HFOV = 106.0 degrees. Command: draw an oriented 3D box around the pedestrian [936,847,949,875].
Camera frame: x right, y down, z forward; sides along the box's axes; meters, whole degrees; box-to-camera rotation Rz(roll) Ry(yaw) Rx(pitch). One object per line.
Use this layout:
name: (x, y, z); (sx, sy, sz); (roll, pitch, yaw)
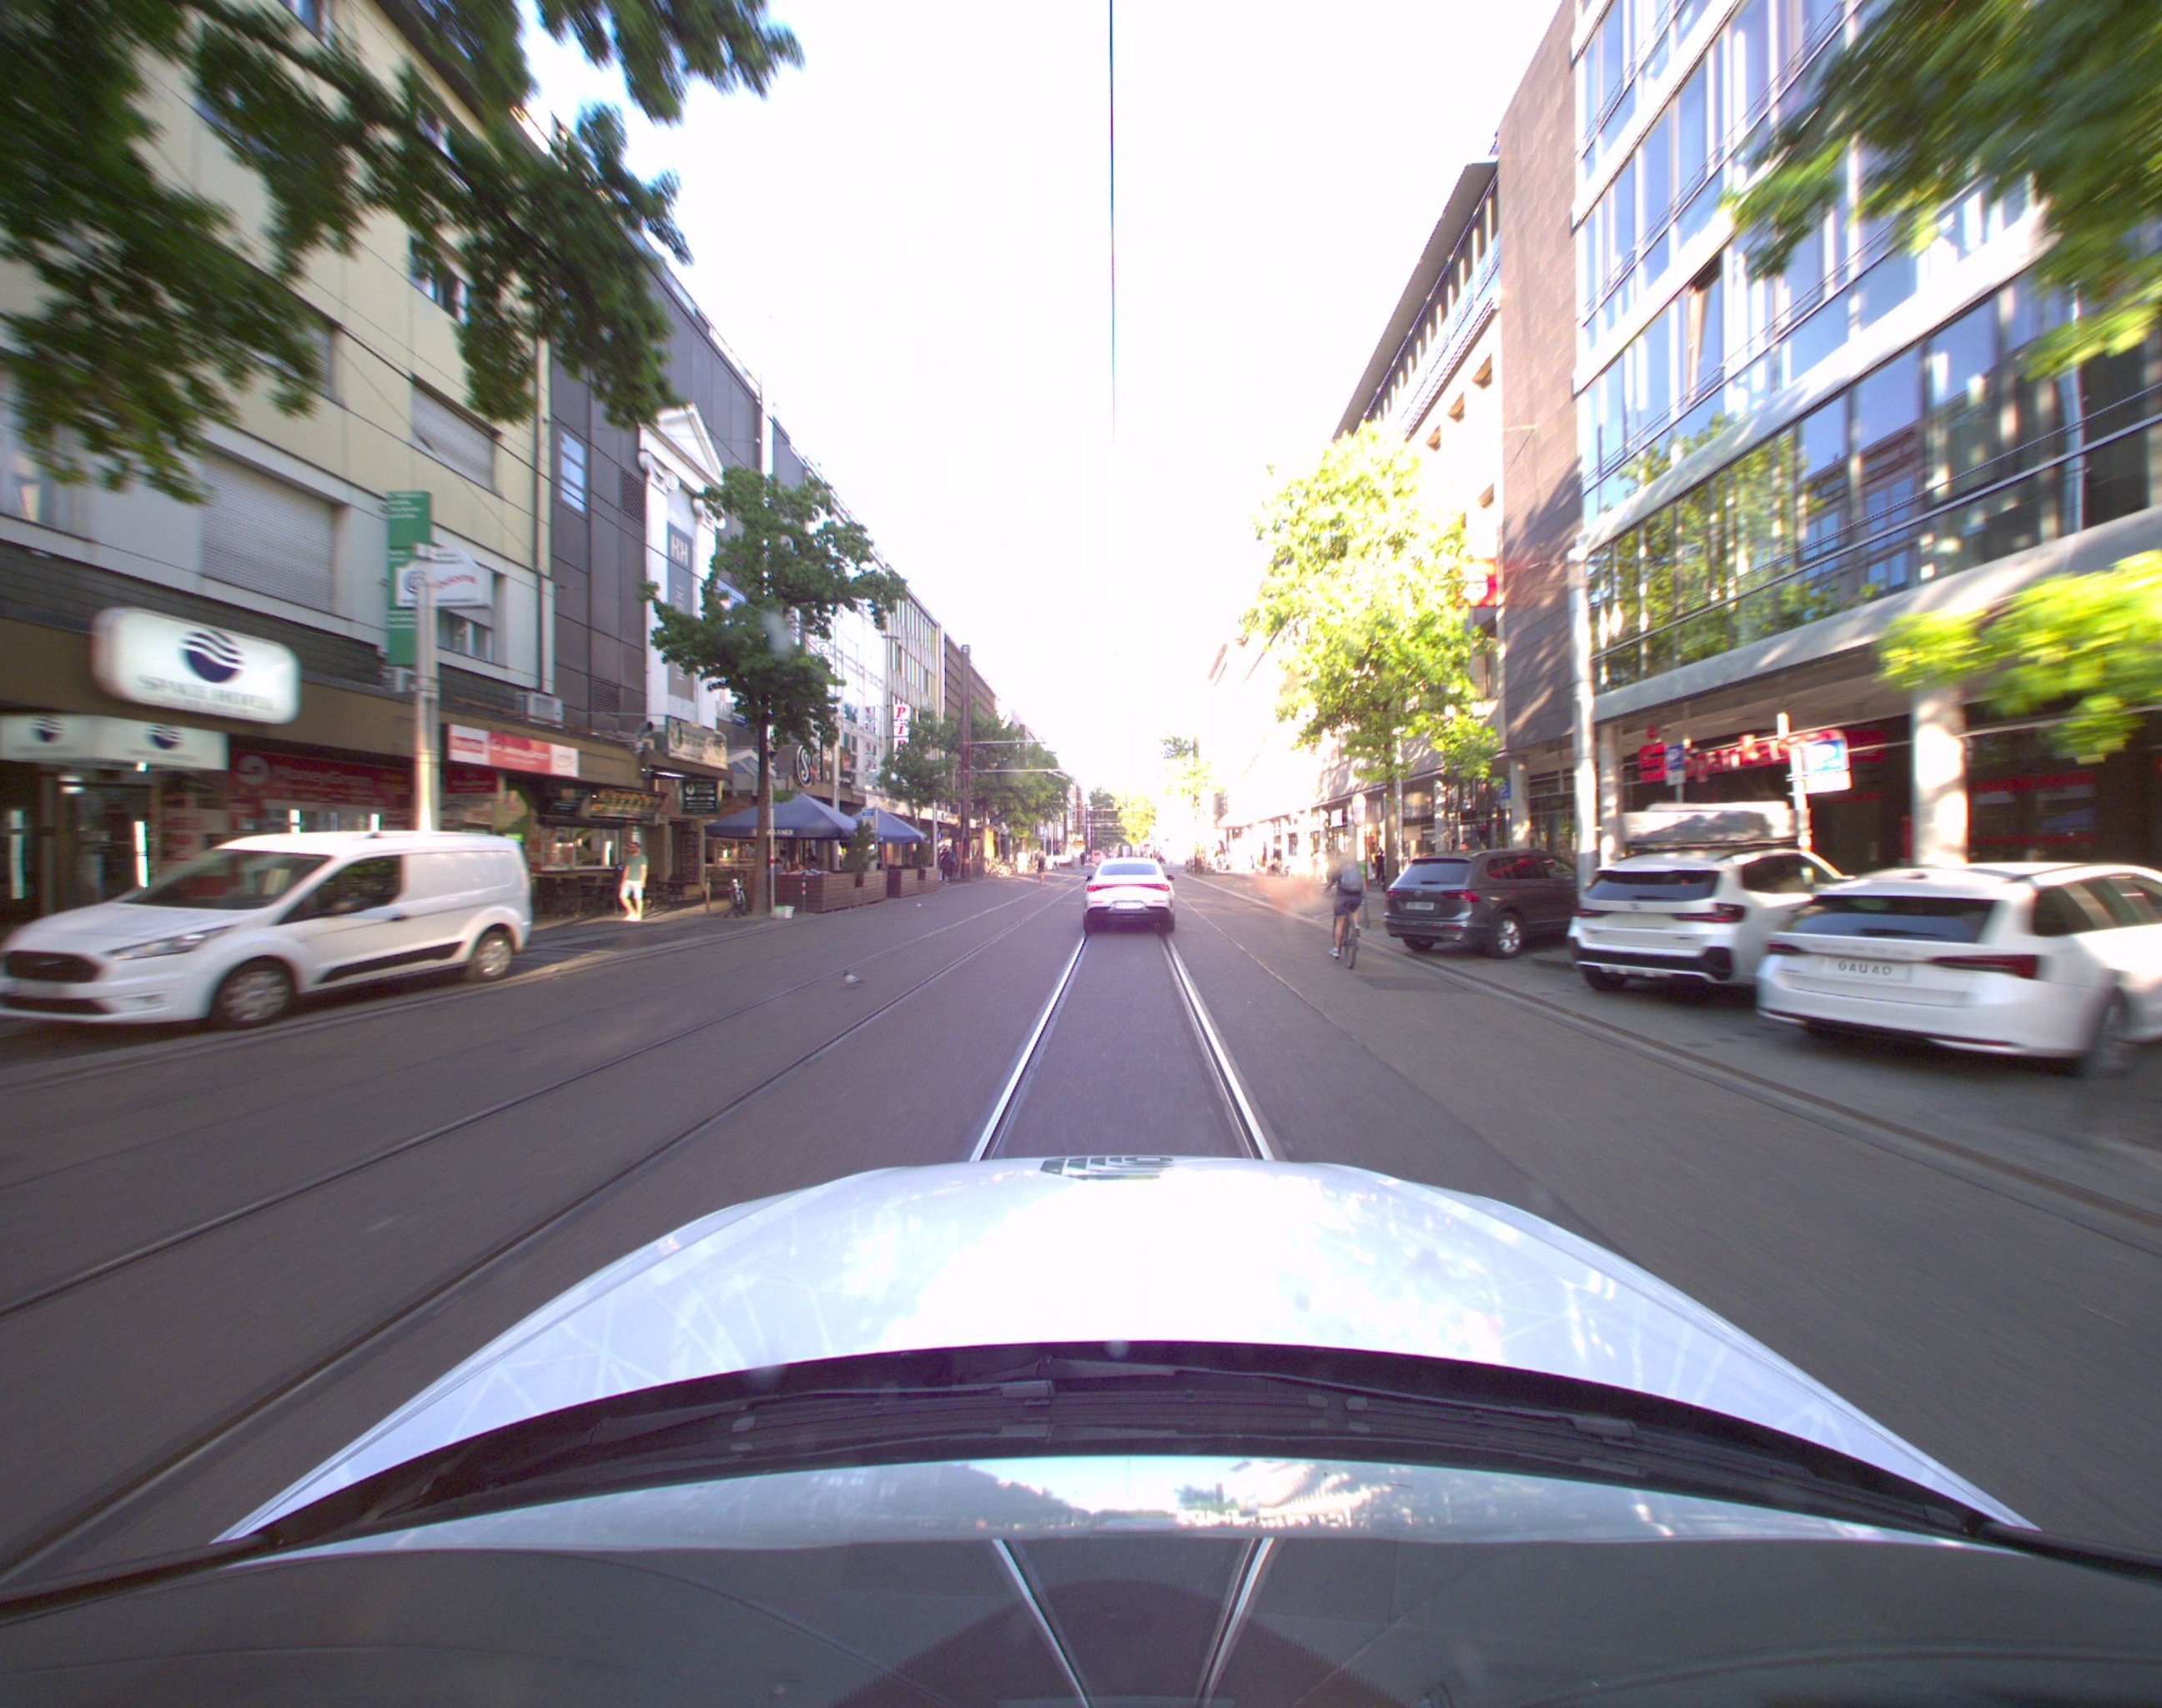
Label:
pedestrian: (-9.233, 0.451, 54.242); (0.619, 1.804, 0.934); (2, 0, 4)

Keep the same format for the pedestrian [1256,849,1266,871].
pedestrian: (13.770, 0.435, 62.382); (0.634, 1.653, 0.781); (0, 0, 4)

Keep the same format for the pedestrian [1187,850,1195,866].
pedestrian: (12.548, 0.466, 92.589); (0.745, 1.785, 0.767); (-2, 0, 2)

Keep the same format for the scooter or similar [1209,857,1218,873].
scooter or similar: (11.049, 0.934, 67.711); (0.527, 1.277, 0.658); (-2, 0, -8)

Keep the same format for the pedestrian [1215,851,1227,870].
pedestrian: (13.178, 0.605, 76.694); (0.896, 1.744, 0.690); (-4, 0, 2)

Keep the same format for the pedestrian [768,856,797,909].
pedestrian: (-8.103, 0.759, 22.125); (0.547, 1.429, 0.583); (0, 0, 2)

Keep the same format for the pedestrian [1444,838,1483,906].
pedestrian: (10.018, 0.460, 21.321); (0.681, 1.731, 0.636); (-3, 0, 45)

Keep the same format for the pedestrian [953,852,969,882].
pedestrian: (-6.356, 0.658, 43.072); (0.619, 1.550, 0.853); (2, 0, 3)

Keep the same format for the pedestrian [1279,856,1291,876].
pedestrian: (12.376, 0.745, 49.407); (0.663, 1.198, 0.786); (0, 0, 8)

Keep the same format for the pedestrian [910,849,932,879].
pedestrian: (-8.878, 0.568, 45.163); (0.841, 1.638, 0.766); (1, 0, 23)

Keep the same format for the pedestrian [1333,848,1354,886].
pedestrian: (10.976, 0.533, 34.034); (0.678, 1.572, 0.632); (1, 0, 3)

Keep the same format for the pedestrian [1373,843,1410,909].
pedestrian: (8.216, 0.580, 21.536); (0.672, 1.685, 0.700); (-3, 0, 36)

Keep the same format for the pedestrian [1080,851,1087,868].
pedestrian: (0.237, 0.638, 94.699); (0.576, 1.929, 0.534); (0, 0, -43)

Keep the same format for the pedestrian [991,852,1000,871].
pedestrian: (-7.506, 0.694, 71.380); (0.712, 1.639, 0.684); (-1, 0, -3)

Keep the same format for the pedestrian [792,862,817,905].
pedestrian: (-7.959, 0.842, 23.433); (0.493, 1.228, 0.536); (0, 0, 2)

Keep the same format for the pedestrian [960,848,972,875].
pedestrian: (-7.674, 0.509, 54.366); (0.619, 1.747, 0.934); (2, 0, 4)

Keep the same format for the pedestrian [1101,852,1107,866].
pedestrian: (3.100, 0.686, 108.413); (0.797, 1.782, 0.849); (1, 0, 2)

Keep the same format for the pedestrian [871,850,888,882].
pedestrian: (-9.668, 0.579, 39.122); (0.594, 1.533, 0.672); (1, 0, 4)

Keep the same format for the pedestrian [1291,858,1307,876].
pedestrian: (12.807, 0.774, 47.861); (0.831, 1.031, 0.698); (0, 0, 8)

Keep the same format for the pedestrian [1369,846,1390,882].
pedestrian: (13.659, 0.456, 37.280); (0.693, 1.589, 0.926); (0, 0, 3)

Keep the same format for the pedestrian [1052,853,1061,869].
pedestrian: (-2.761, 0.792, 90.723); (0.901, 1.698, 0.849); (-1, 0, 3)

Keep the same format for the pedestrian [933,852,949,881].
pedestrian: (-7.406, 0.666, 43.040); (0.619, 1.509, 0.834); (2, 0, 3)

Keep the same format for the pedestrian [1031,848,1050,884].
pedestrian: (-2.100, 0.619, 42.416); (0.837, 1.801, 0.791); (1, 0, 4)

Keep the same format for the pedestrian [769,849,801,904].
pedestrian: (-8.840, 0.662, 24.325); (0.670, 1.607, 0.720); (0, 0, 2)

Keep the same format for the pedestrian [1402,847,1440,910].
pedestrian: (8.682, 0.619, 20.820); (0.693, 1.552, 0.600); (-2, 0, -44)

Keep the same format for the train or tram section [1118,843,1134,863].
train or tram section: (8.019, -0.176, 145.894); (2.683, 3.516, 12.555); (-1, 0, 3)

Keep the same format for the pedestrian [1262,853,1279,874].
pedestrian: (12.285, 0.618, 52.792); (0.836, 1.377, 0.773); (0, 0, -20)

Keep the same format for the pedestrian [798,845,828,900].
pedestrian: (-8.586, 0.592, 26.132); (0.714, 1.724, 0.676); (0, 0, 2)

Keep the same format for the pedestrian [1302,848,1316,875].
pedestrian: (14.870, 0.489, 53.157); (0.712, 1.741, 0.836); (0, 0, 3)

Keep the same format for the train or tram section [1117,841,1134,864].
train or tram section: (7.294, -0.176, 133.351); (2.683, 3.516, 12.555); (-1, 0, 3)

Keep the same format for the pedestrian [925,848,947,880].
pedestrian: (-8.109, 0.550, 45.658); (0.842, 1.741, 0.839); (1, 0, 23)

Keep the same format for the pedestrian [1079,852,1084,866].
pedestrian: (0.072, 0.644, 105.689); (0.518, 1.760, 0.551); (-1, 0, 0)

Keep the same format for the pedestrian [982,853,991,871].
pedestrian: (-8.212, 0.718, 71.081); (0.712, 1.547, 0.684); (-1, 0, -3)

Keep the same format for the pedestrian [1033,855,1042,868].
pedestrian: (-4.950, 0.876, 92.847); (0.951, 1.496, 0.945); (-1, 0, 3)

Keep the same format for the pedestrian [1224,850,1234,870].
pedestrian: (13.921, 0.519, 76.443); (0.698, 1.812, 1.034); (-4, 0, 3)

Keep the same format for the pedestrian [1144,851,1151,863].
pedestrian: (10.218, 0.452, 124.435); (0.956, 1.785, 0.804); (-2, 0, 2)

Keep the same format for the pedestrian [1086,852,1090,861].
pedestrian: (1.210, 0.412, 134.732); (0.657, 1.599, 0.573); (-1, 0, 2)

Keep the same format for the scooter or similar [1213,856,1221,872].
scooter or similar: (11.207, 0.796, 67.070); (0.491, 1.277, 0.658); (-2, 0, -8)

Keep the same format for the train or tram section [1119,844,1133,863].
train or tram section: (8.696, -0.172, 157.725); (2.683, 3.516, 11.152); (-1, 0, 3)

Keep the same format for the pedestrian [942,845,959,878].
pedestrian: (-7.803, 0.442, 48.737); (0.798, 1.923, 1.071); (2, 0, 0)
